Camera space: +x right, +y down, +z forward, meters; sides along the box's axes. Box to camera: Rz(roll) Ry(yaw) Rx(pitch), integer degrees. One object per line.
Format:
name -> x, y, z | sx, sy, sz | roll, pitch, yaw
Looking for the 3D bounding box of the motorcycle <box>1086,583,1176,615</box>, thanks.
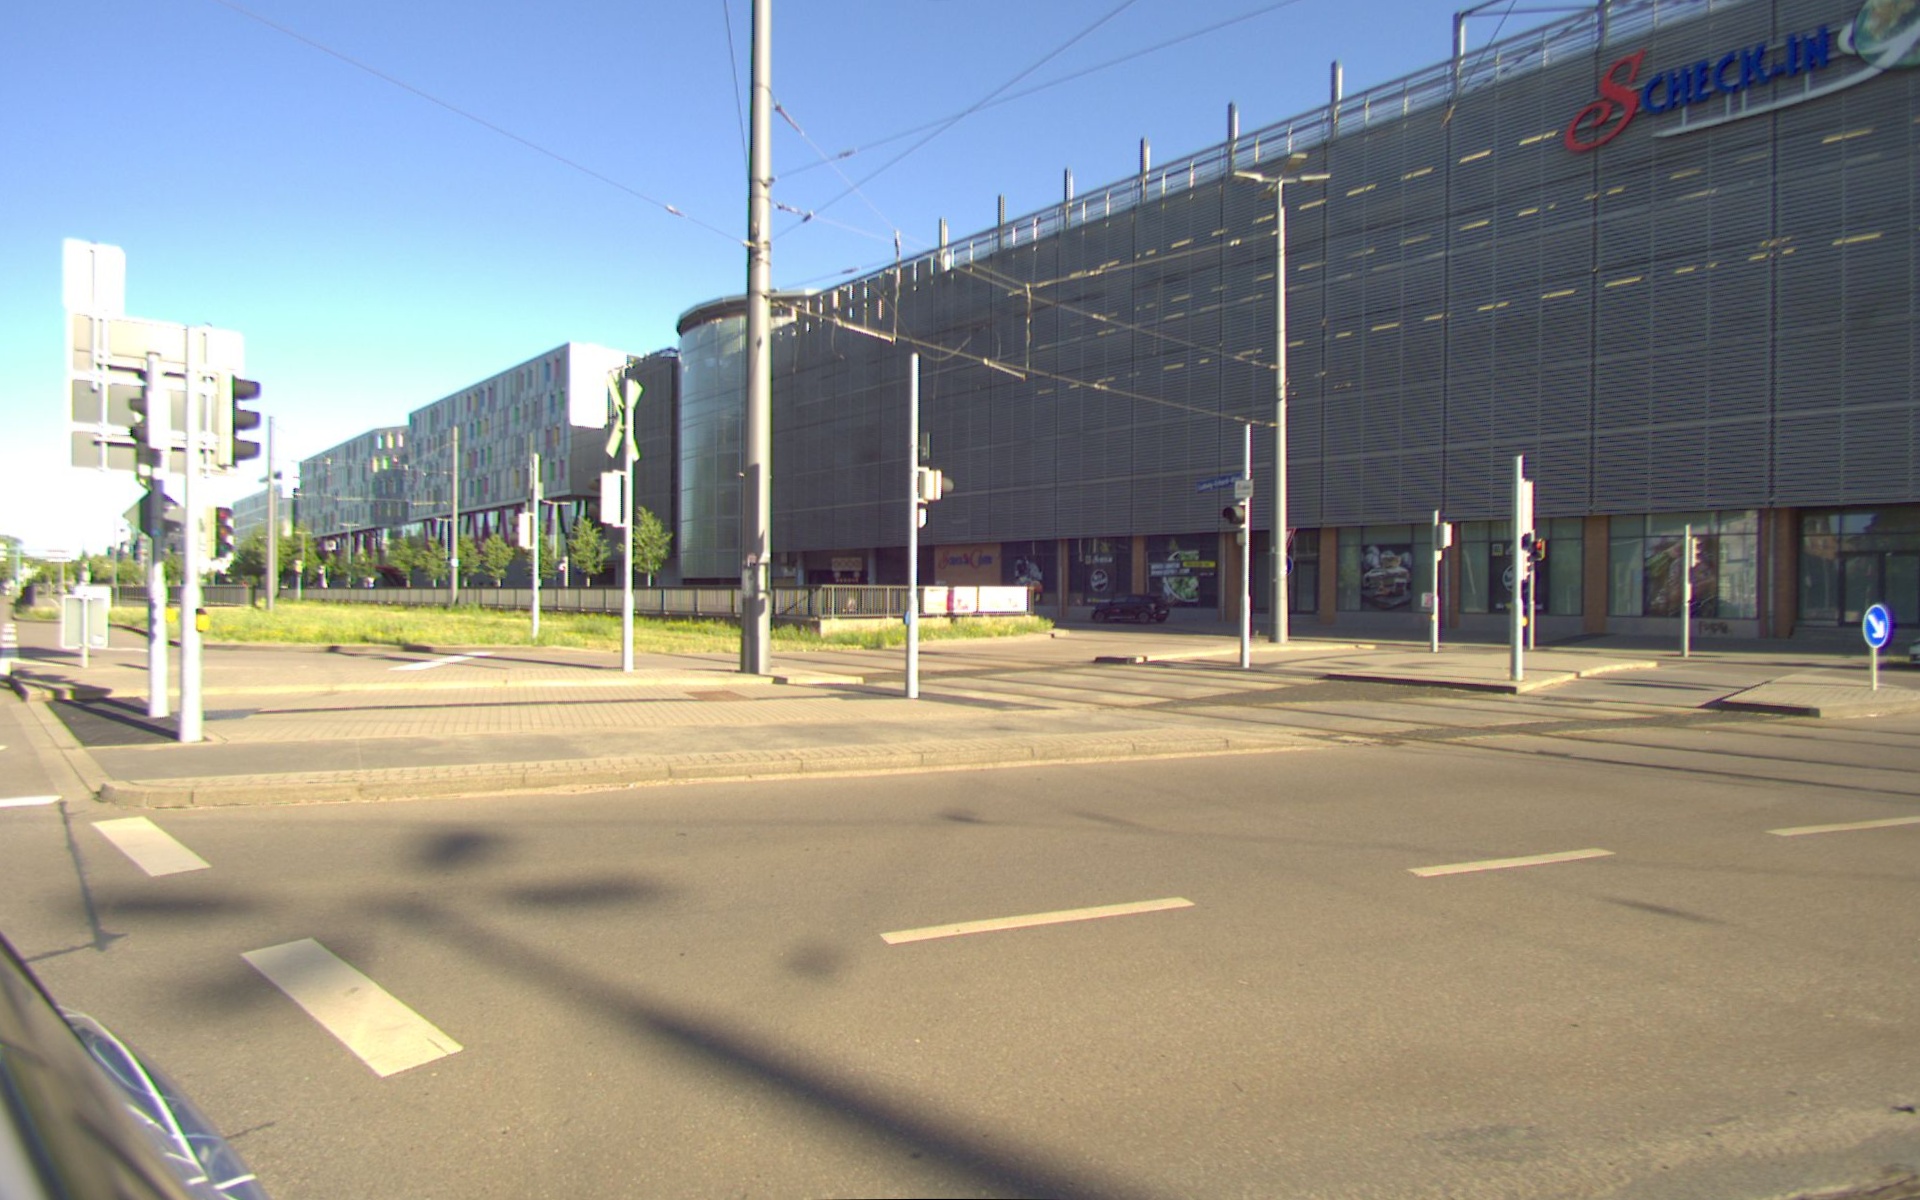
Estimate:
motorcycle -> 8.425, -0.074, 50.087 | 1.970, 1.464, 4.004 | 0, 1, -43
